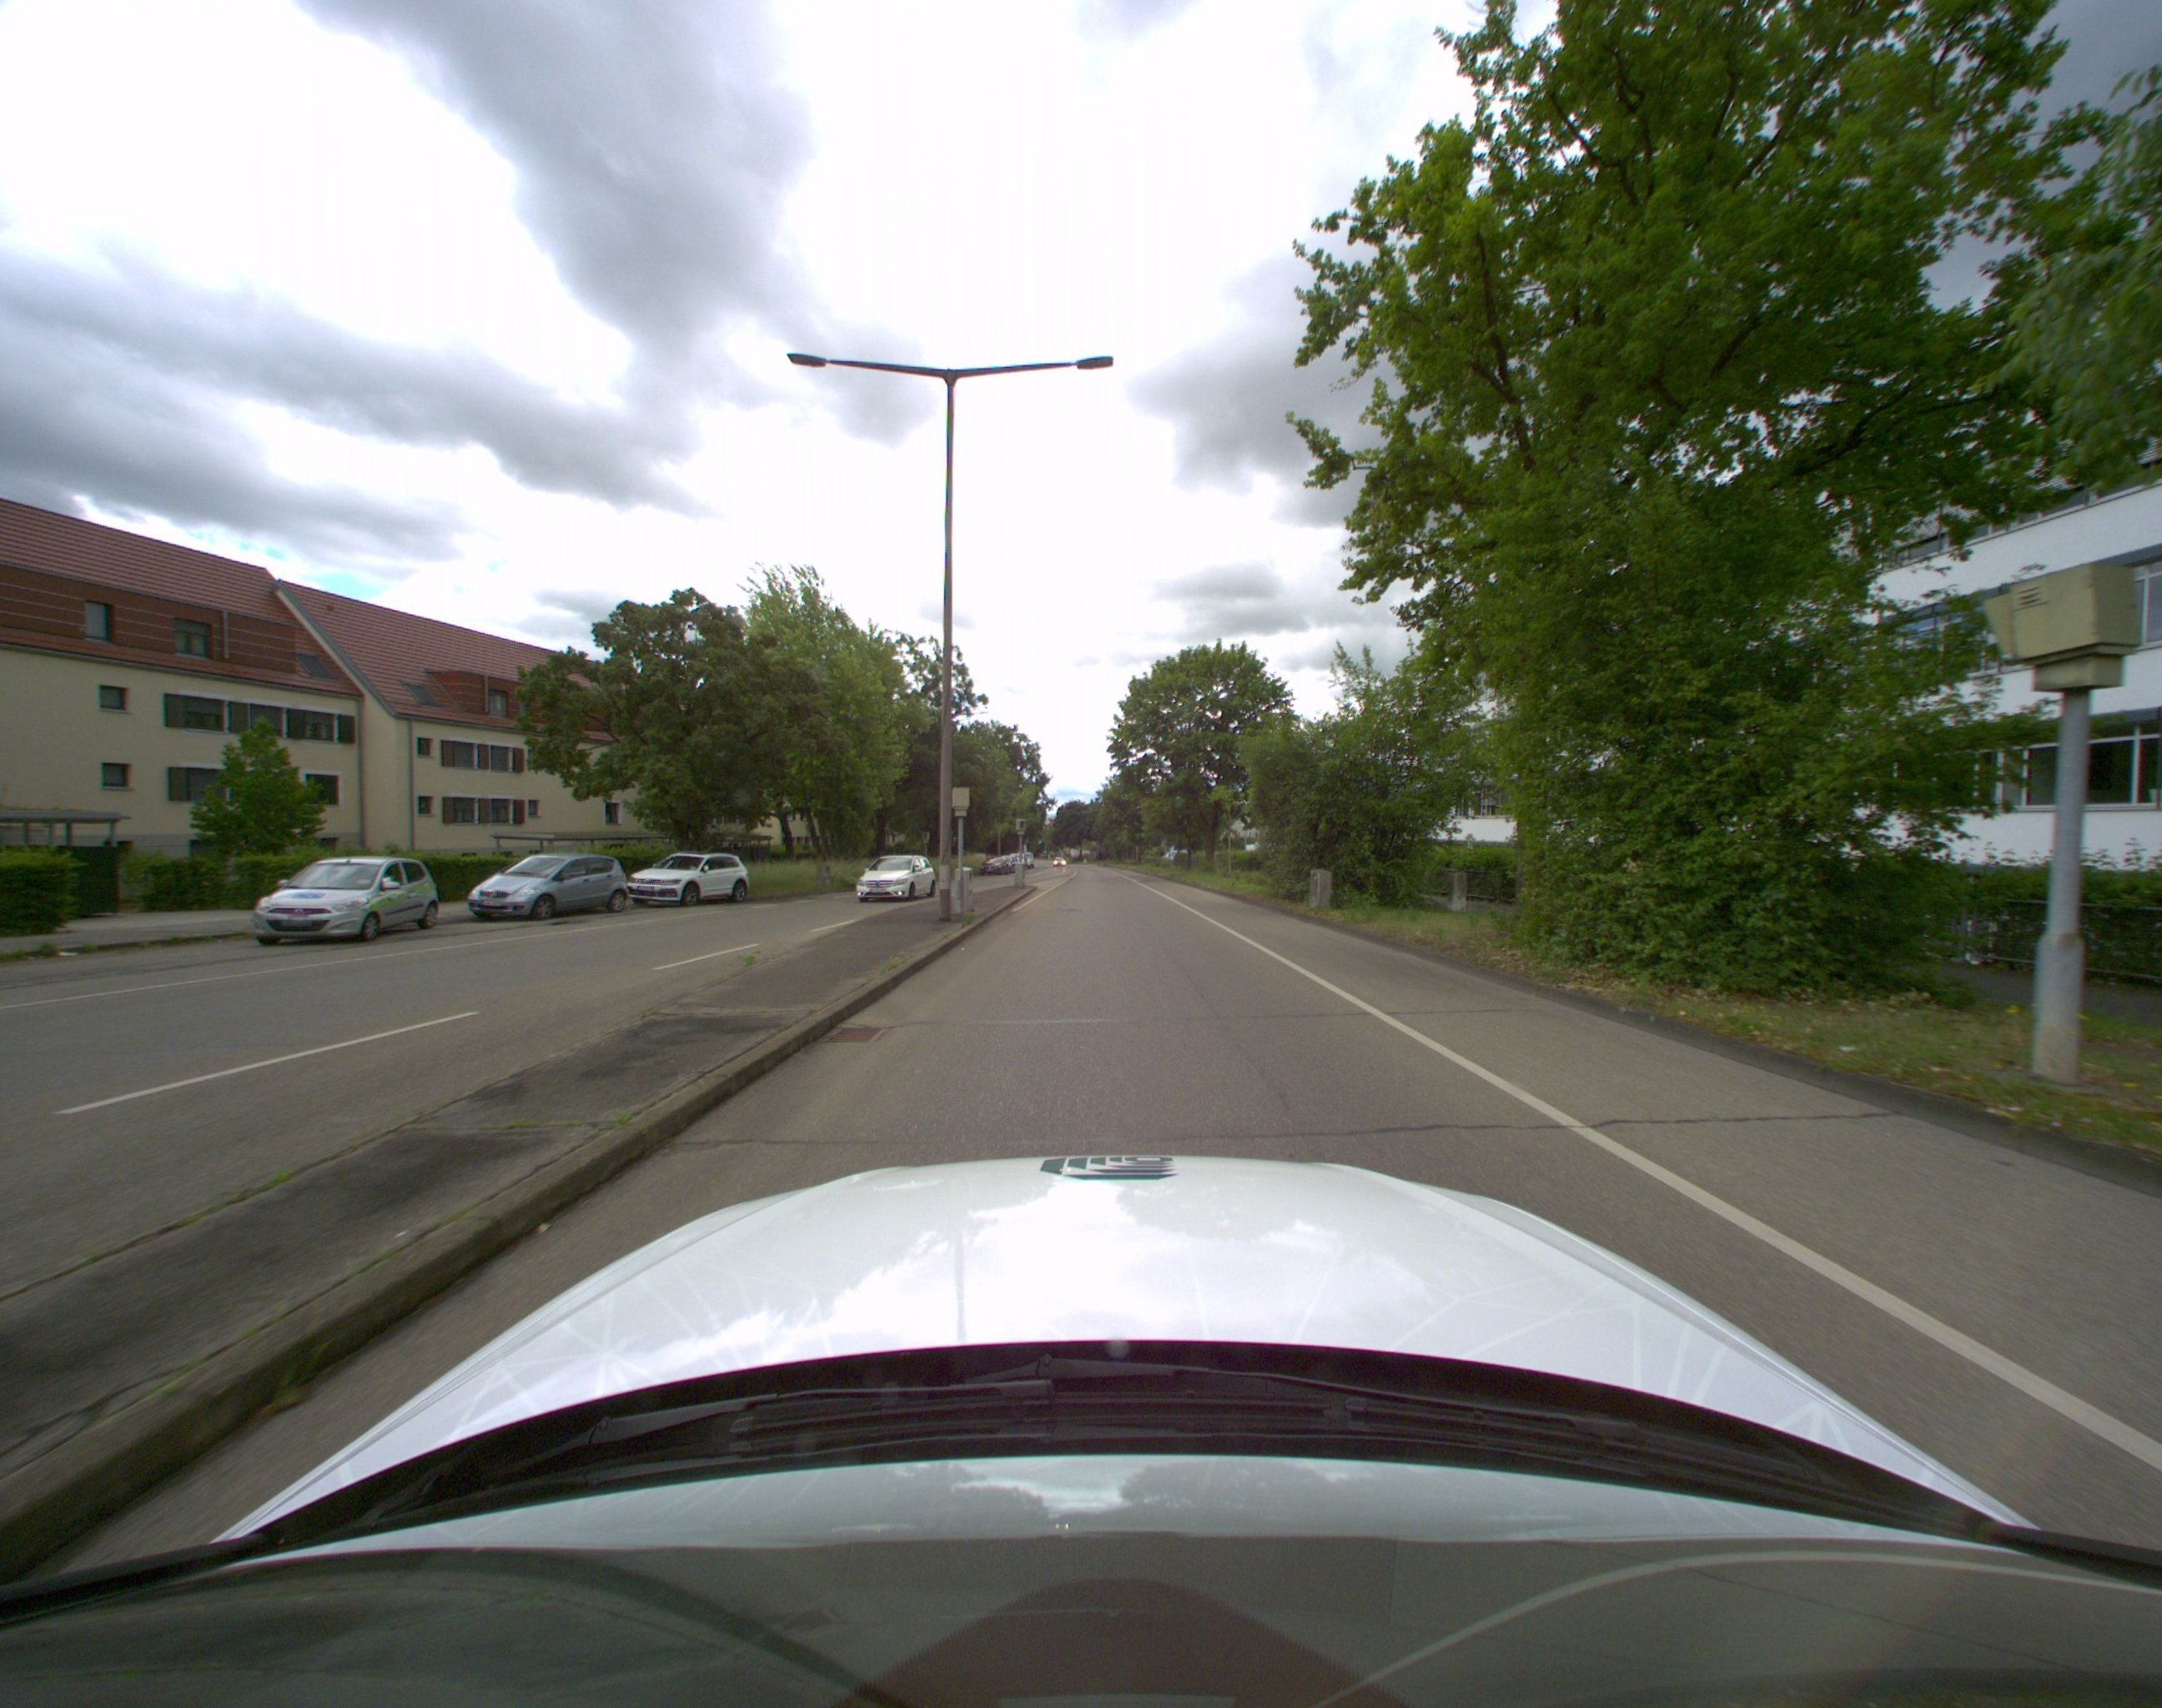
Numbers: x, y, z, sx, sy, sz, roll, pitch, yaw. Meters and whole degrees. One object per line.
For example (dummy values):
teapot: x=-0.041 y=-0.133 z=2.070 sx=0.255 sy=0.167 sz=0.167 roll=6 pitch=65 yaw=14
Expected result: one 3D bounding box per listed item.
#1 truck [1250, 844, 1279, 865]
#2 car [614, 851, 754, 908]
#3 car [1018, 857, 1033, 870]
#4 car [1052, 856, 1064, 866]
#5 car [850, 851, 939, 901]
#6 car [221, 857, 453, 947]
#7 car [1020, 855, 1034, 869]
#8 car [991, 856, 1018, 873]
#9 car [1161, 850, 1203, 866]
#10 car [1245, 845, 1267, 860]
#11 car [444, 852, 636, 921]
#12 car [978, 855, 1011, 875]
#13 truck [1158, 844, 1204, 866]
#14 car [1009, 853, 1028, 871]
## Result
truck: x=30.900 y=0.105 z=137.688 sx=2.843 sy=3.459 sz=9.541 roll=1 pitch=-1 yaw=1
car: x=-12.609 y=0.756 z=26.229 sx=1.864 sy=1.667 sz=4.401 roll=0 pitch=0 yaw=9
car: x=-7.120 y=1.232 z=104.680 sx=1.669 sy=1.564 sz=4.277 roll=-1 pitch=-1 yaw=-2
car: x=-3.514 y=1.087 z=125.172 sx=1.632 sy=1.467 sz=4.000 roll=-1 pitch=-1 yaw=0
car: x=-6.349 y=0.738 z=28.245 sx=1.867 sy=1.570 sz=4.342 roll=0 pitch=-1 yaw=3
car: x=-14.503 y=0.841 z=16.216 sx=1.880 sy=1.507 sz=3.976 roll=0 pitch=0 yaw=-17
car: x=-7.859 y=1.123 z=119.306 sx=1.861 sy=1.963 sz=5.122 roll=0 pitch=-1 yaw=-2
car: x=-6.608 y=0.910 z=70.503 sx=1.761 sy=1.447 sz=4.152 roll=0 pitch=0 yaw=2
car: x=15.350 y=0.682 z=124.182 sx=6.040 sy=2.367 sz=2.343 roll=1 pitch=-1 yaw=-25
car: x=34.808 y=-0.329 z=162.005 sx=2.233 sy=2.676 sz=5.485 roll=0 pitch=2 yaw=37
car: x=-13.726 y=0.764 z=21.000 sx=1.864 sy=1.596 sz=4.010 roll=0 pitch=0 yaw=9
car: x=-6.859 y=0.885 z=64.962 sx=1.867 sy=1.570 sz=4.654 roll=0 pitch=-1 yaw=3
truck: x=16.287 y=0.205 z=132.172 sx=7.200 sy=3.477 sz=2.597 roll=0 pitch=0 yaw=-26
car: x=-7.139 y=0.913 z=93.535 sx=1.762 sy=1.931 sz=5.154 roll=1 pitch=0 yaw=0
